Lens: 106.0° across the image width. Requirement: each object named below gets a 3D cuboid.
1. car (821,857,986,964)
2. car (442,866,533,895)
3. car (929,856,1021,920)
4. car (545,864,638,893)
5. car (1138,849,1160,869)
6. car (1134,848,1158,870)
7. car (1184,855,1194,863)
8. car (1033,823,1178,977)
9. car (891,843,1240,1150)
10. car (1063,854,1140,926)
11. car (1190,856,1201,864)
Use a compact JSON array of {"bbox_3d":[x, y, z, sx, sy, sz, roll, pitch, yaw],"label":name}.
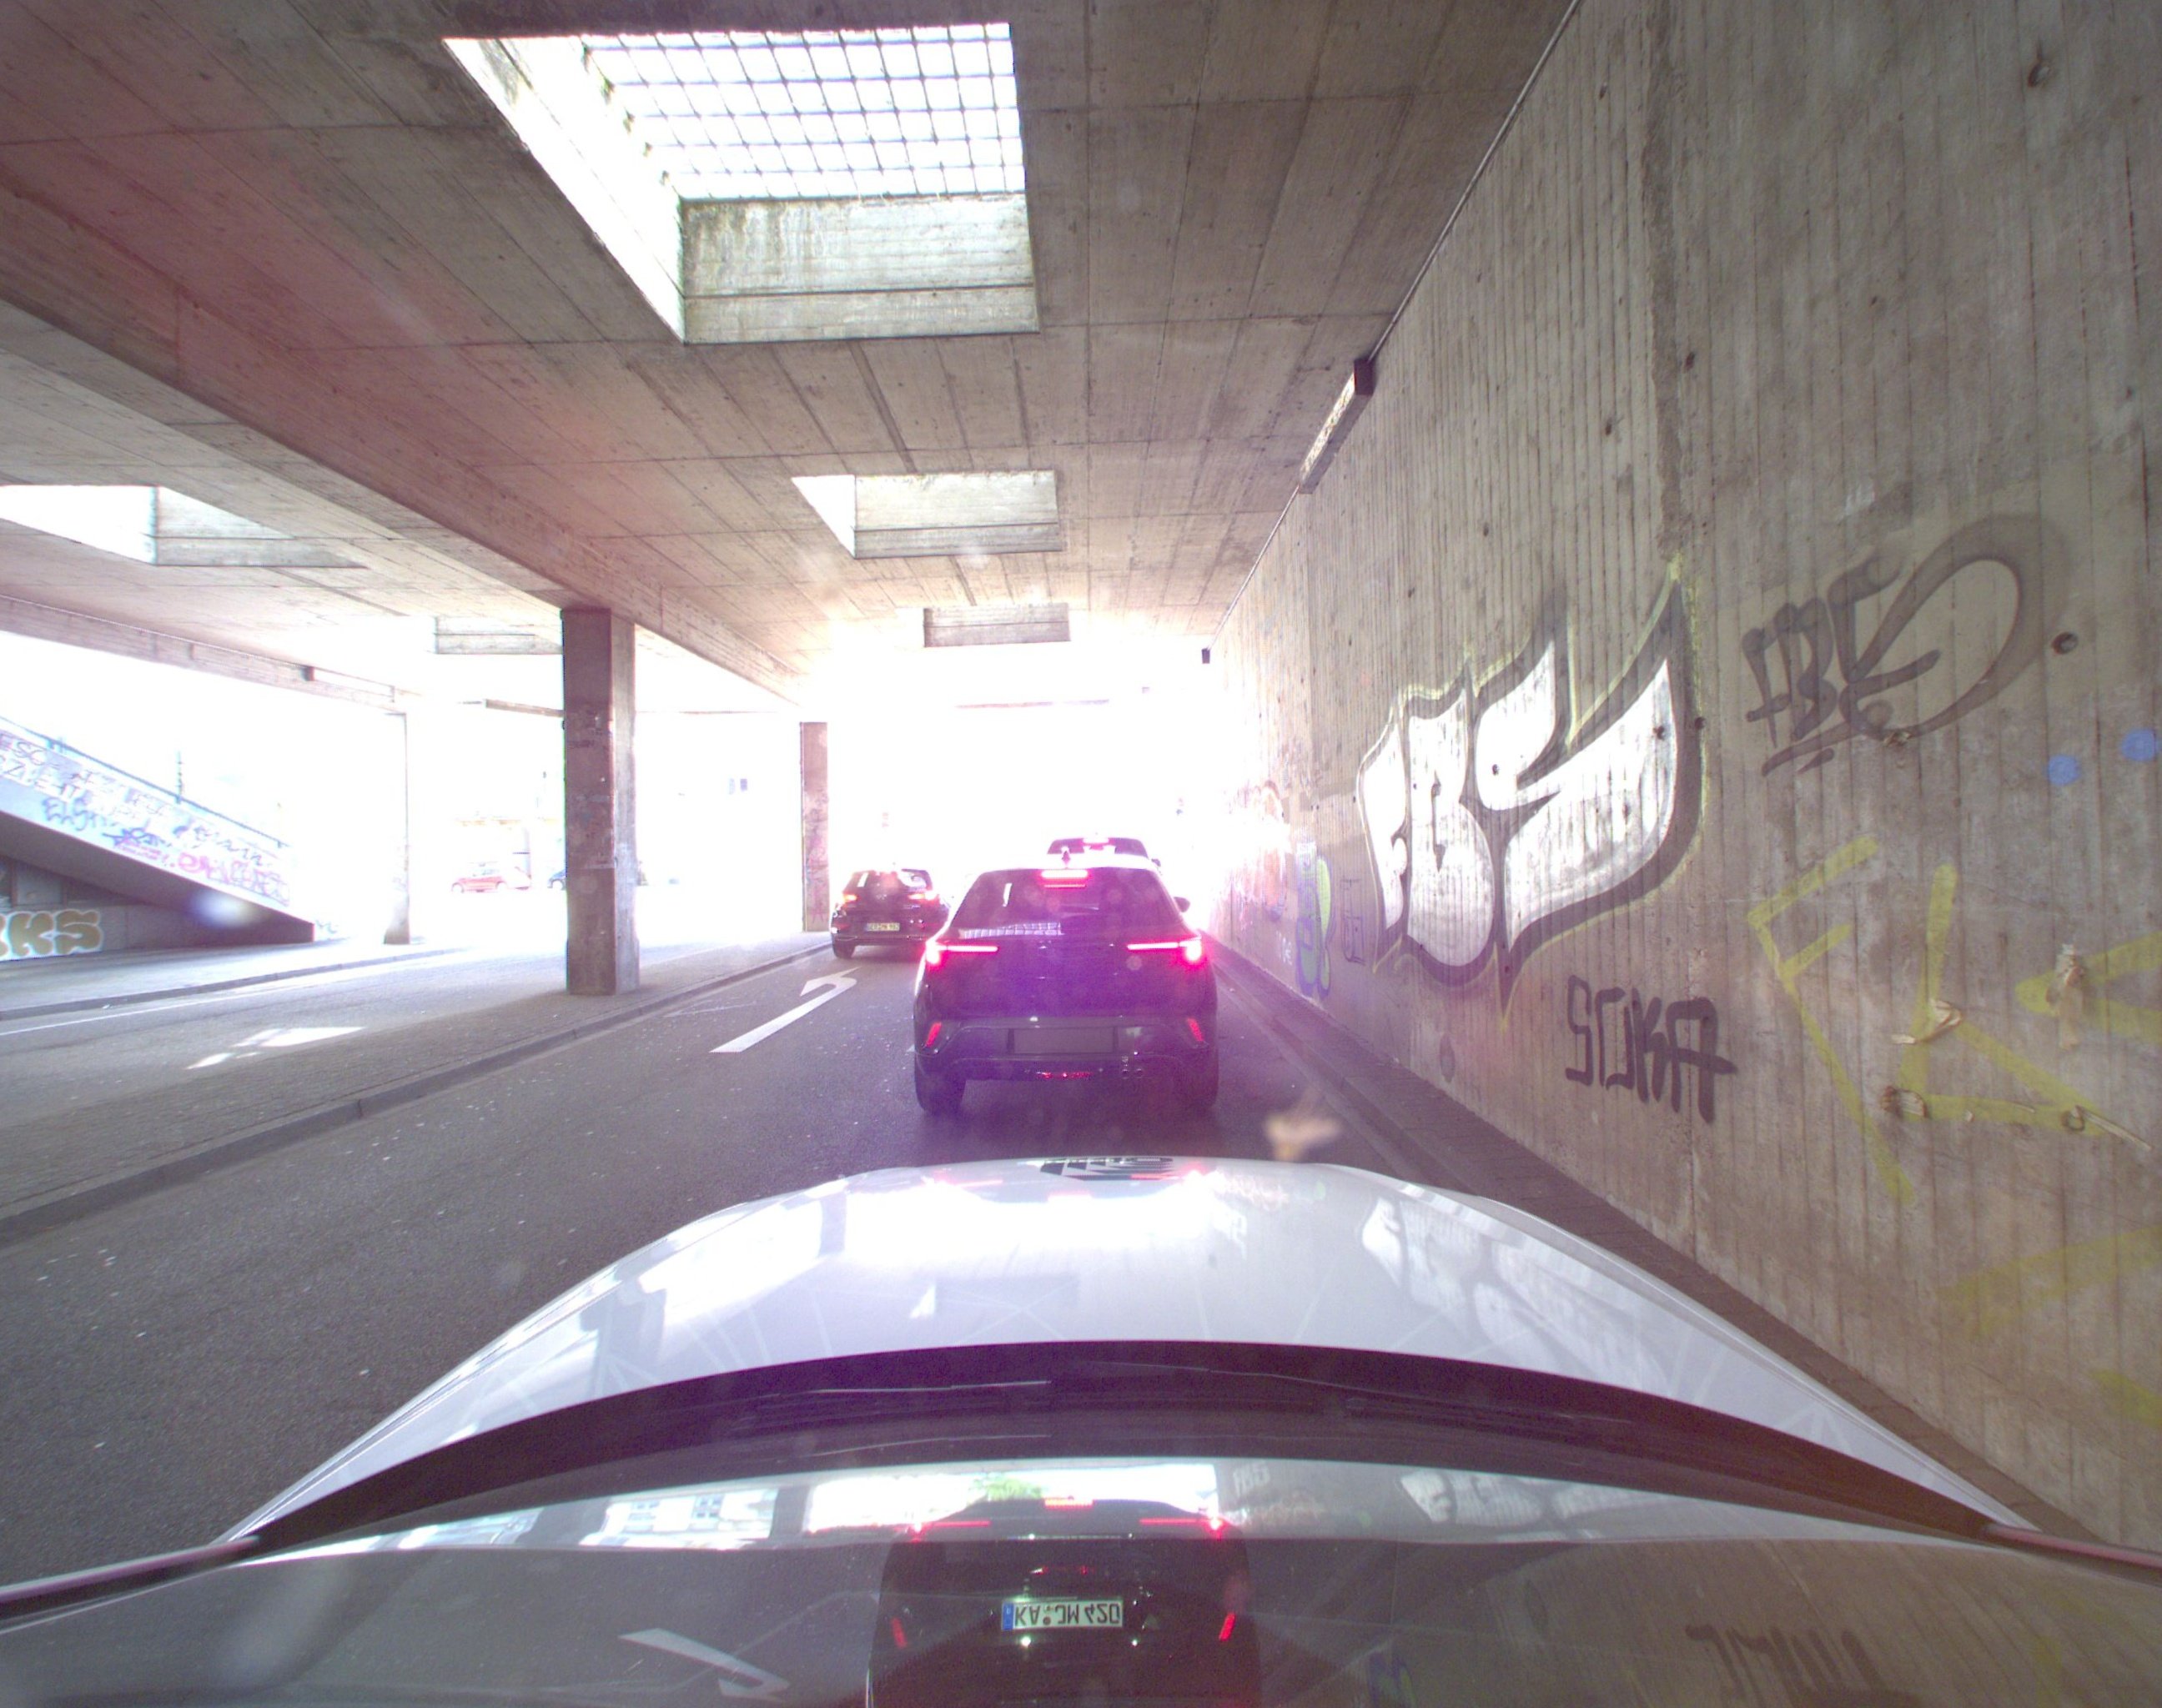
[{"bbox_3d":[-2.739,0.805,13.456,1.755,1.480,3.846,-1,0,2],"label":"car"},{"bbox_3d":[-32.923,1.454,45.237,3.748,1.475,1.749,-1,-1,0],"label":"car"},{"bbox_3d":[-2.651,0.802,21.184,1.755,1.480,3.846,-1,0,2],"label":"car"},{"bbox_3d":[-27.167,1.330,45.260,4.096,1.475,1.737,-1,-1,0],"label":"car"},{"bbox_3d":[5.759,0.430,68.329,1.745,1.667,3.950,0,-1,6],"label":"car"},{"bbox_3d":[4.972,0.386,62.225,1.745,1.667,3.950,0,-1,6],"label":"car"},{"bbox_3d":[22.930,1.155,172.203,1.742,1.667,3.958,-1,-1,13],"label":"car"},{"bbox_3d":[0.366,0.572,12.137,1.755,1.883,4.148,-1,0,2],"label":"car"},{"bbox_3d":[-0.018,0.731,6.197,1.755,1.531,4.091,-1,0,2],"label":"car"},{"bbox_3d":[0.502,0.767,19.355,1.603,1.513,4.055,-1,0,2],"label":"car"},{"bbox_3d":[22.613,1.202,160.857,1.805,1.667,4.833,-1,-1,13],"label":"car"}]
